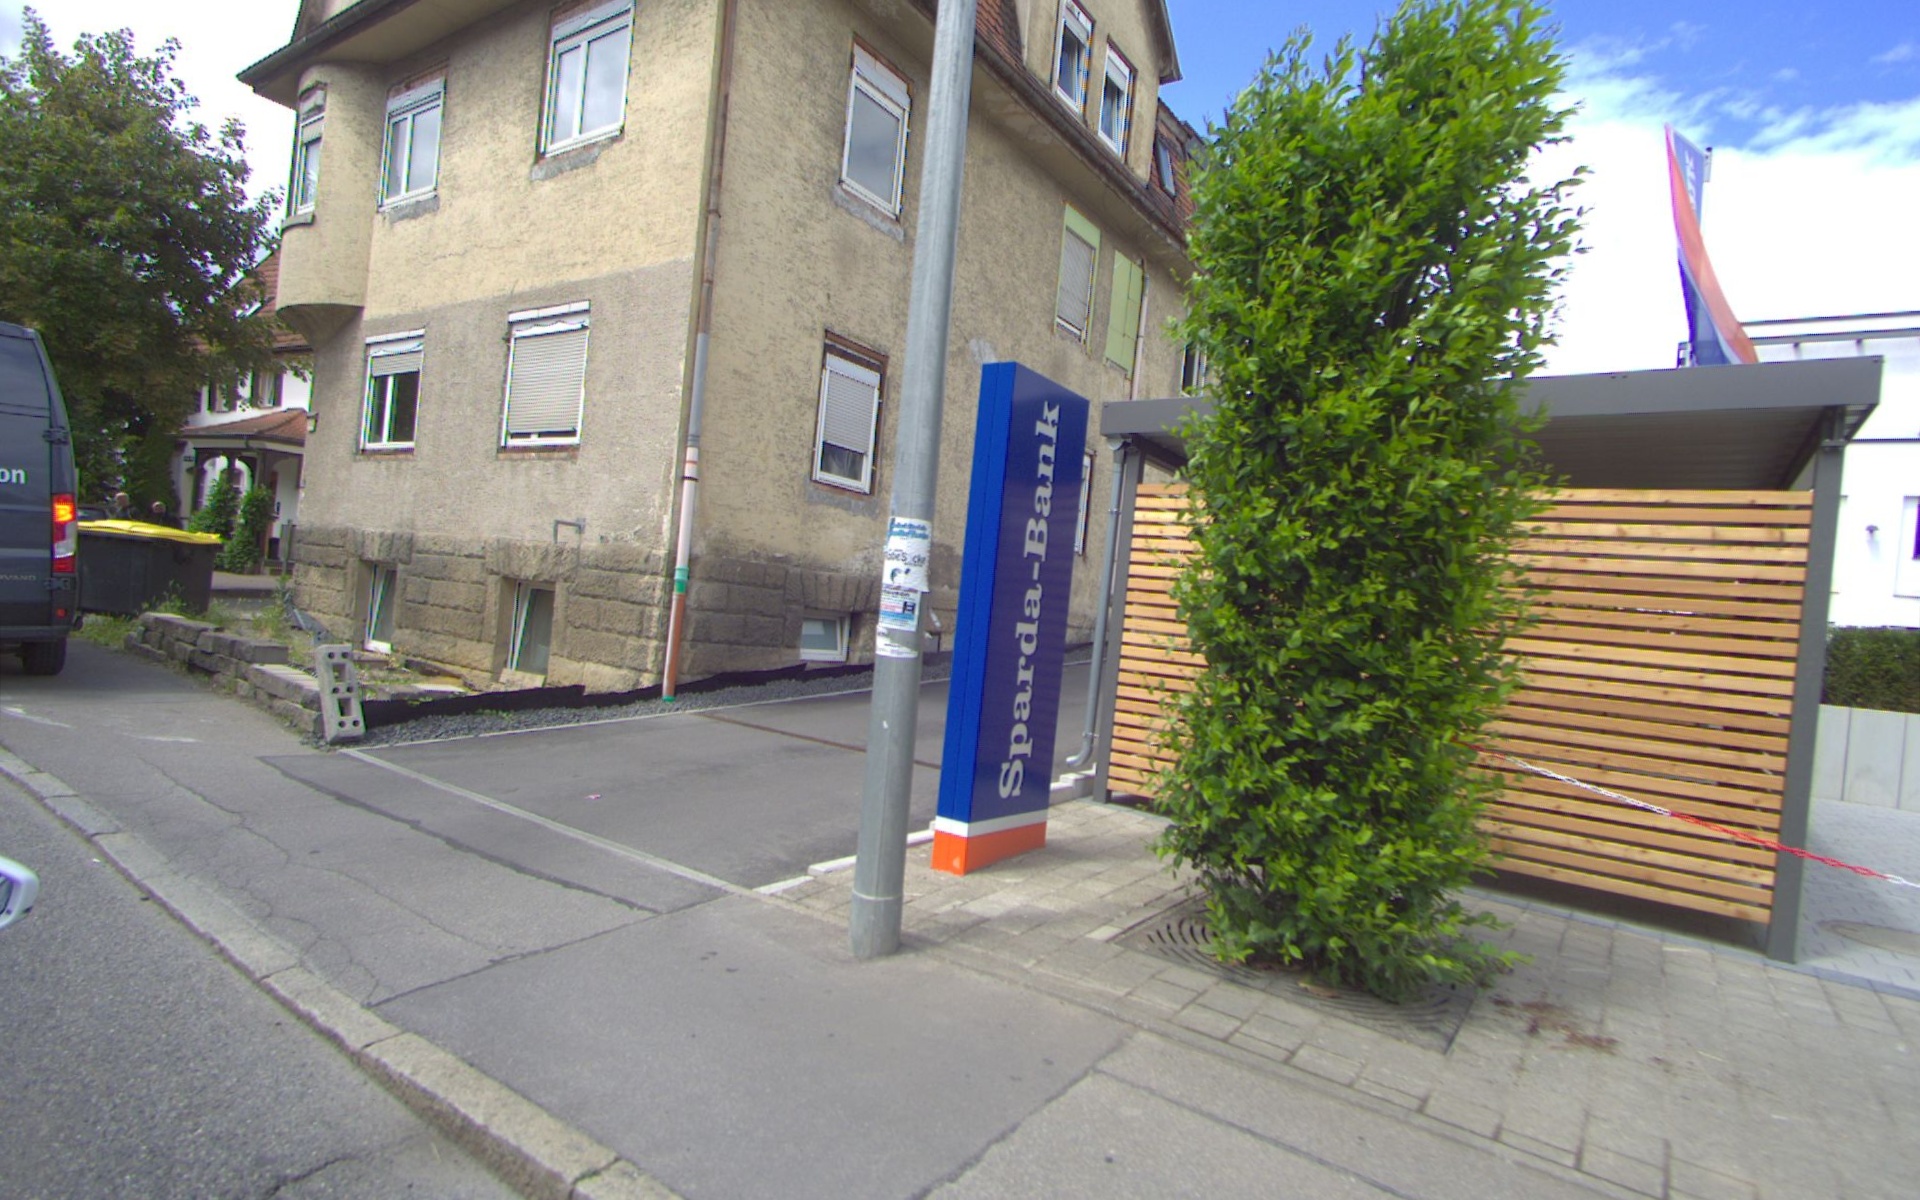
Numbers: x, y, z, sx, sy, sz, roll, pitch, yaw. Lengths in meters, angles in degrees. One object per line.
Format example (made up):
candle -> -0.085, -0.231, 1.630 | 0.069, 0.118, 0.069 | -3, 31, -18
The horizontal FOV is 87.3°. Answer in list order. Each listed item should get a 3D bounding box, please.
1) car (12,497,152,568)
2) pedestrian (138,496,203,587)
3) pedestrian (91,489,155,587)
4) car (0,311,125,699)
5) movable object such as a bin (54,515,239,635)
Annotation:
car -> -22.277, -1.722, 25.693 | 1.735, 1.538, 4.049 | 3, 3, -27
pedestrian -> -15.468, -1.140, 19.712 | 0.787, 1.663, 0.783 | 6, 0, 43
pedestrian -> -16.546, -1.226, 19.884 | 0.887, 1.804, 0.739 | 6, 1, 43
car -> -9.632, -0.956, 8.914 | 6.159, 2.805, 2.146 | 6, 0, 39
movable object such as a bin -> -9.941, -0.278, 12.353 | 1.186, 1.281, 1.186 | 6, 0, 6
